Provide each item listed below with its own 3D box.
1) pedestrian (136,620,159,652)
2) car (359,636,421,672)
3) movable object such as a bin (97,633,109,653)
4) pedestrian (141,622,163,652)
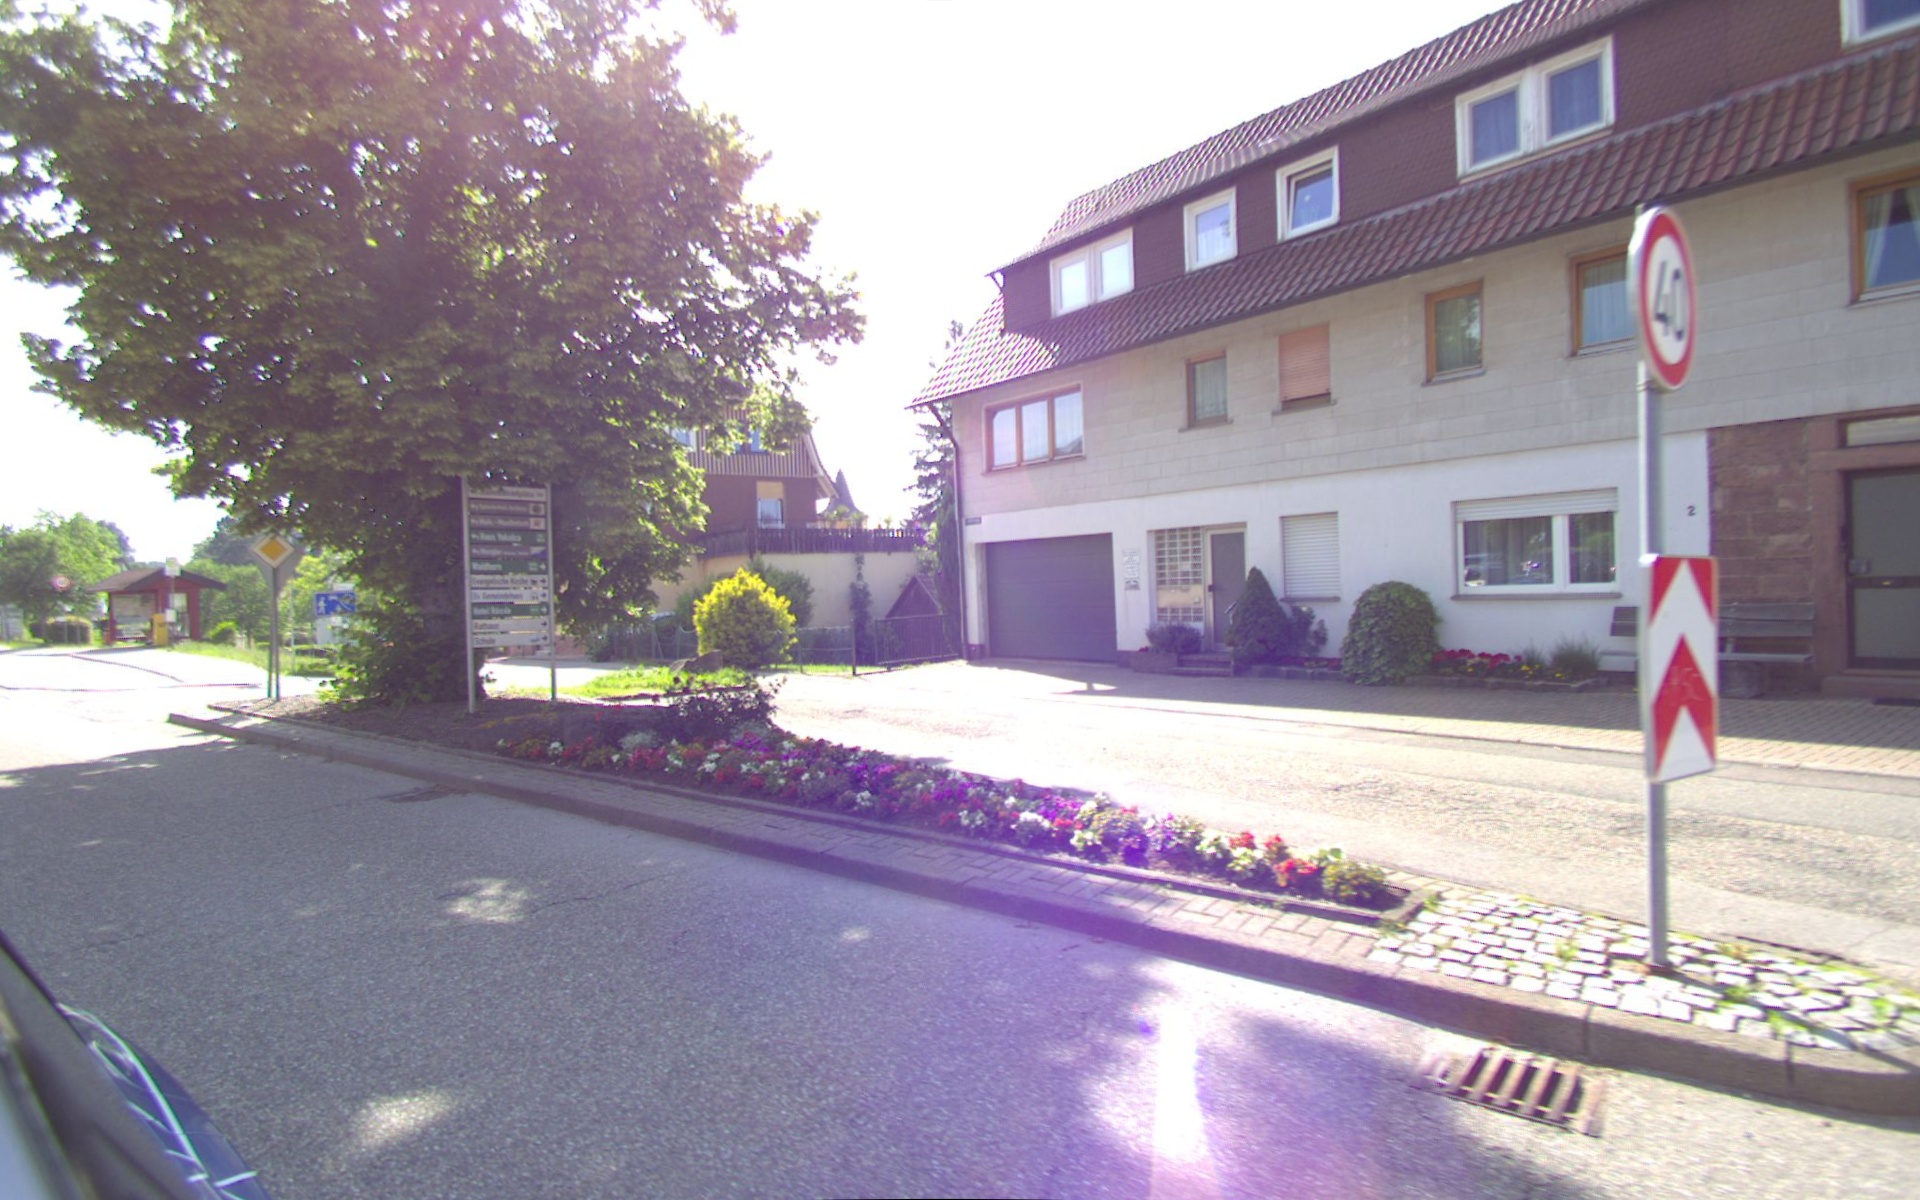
[{"bbox_3d":[-34.513,1.529,43.006,0.673,1.375,0.611,-3,-3,38],"label":"pedestrian"},{"bbox_3d":[-22.643,2.121,40.110,1.698,1.307,4.009,0,-2,-36],"label":"car"},{"bbox_3d":[-36.848,1.827,43.503,0.484,0.843,0.302,-1,-1,37],"label":"movable object such as a bin"},{"bbox_3d":[-34.039,1.563,42.641,0.423,1.262,0.623,-2,-2,37],"label":"pedestrian"}]
